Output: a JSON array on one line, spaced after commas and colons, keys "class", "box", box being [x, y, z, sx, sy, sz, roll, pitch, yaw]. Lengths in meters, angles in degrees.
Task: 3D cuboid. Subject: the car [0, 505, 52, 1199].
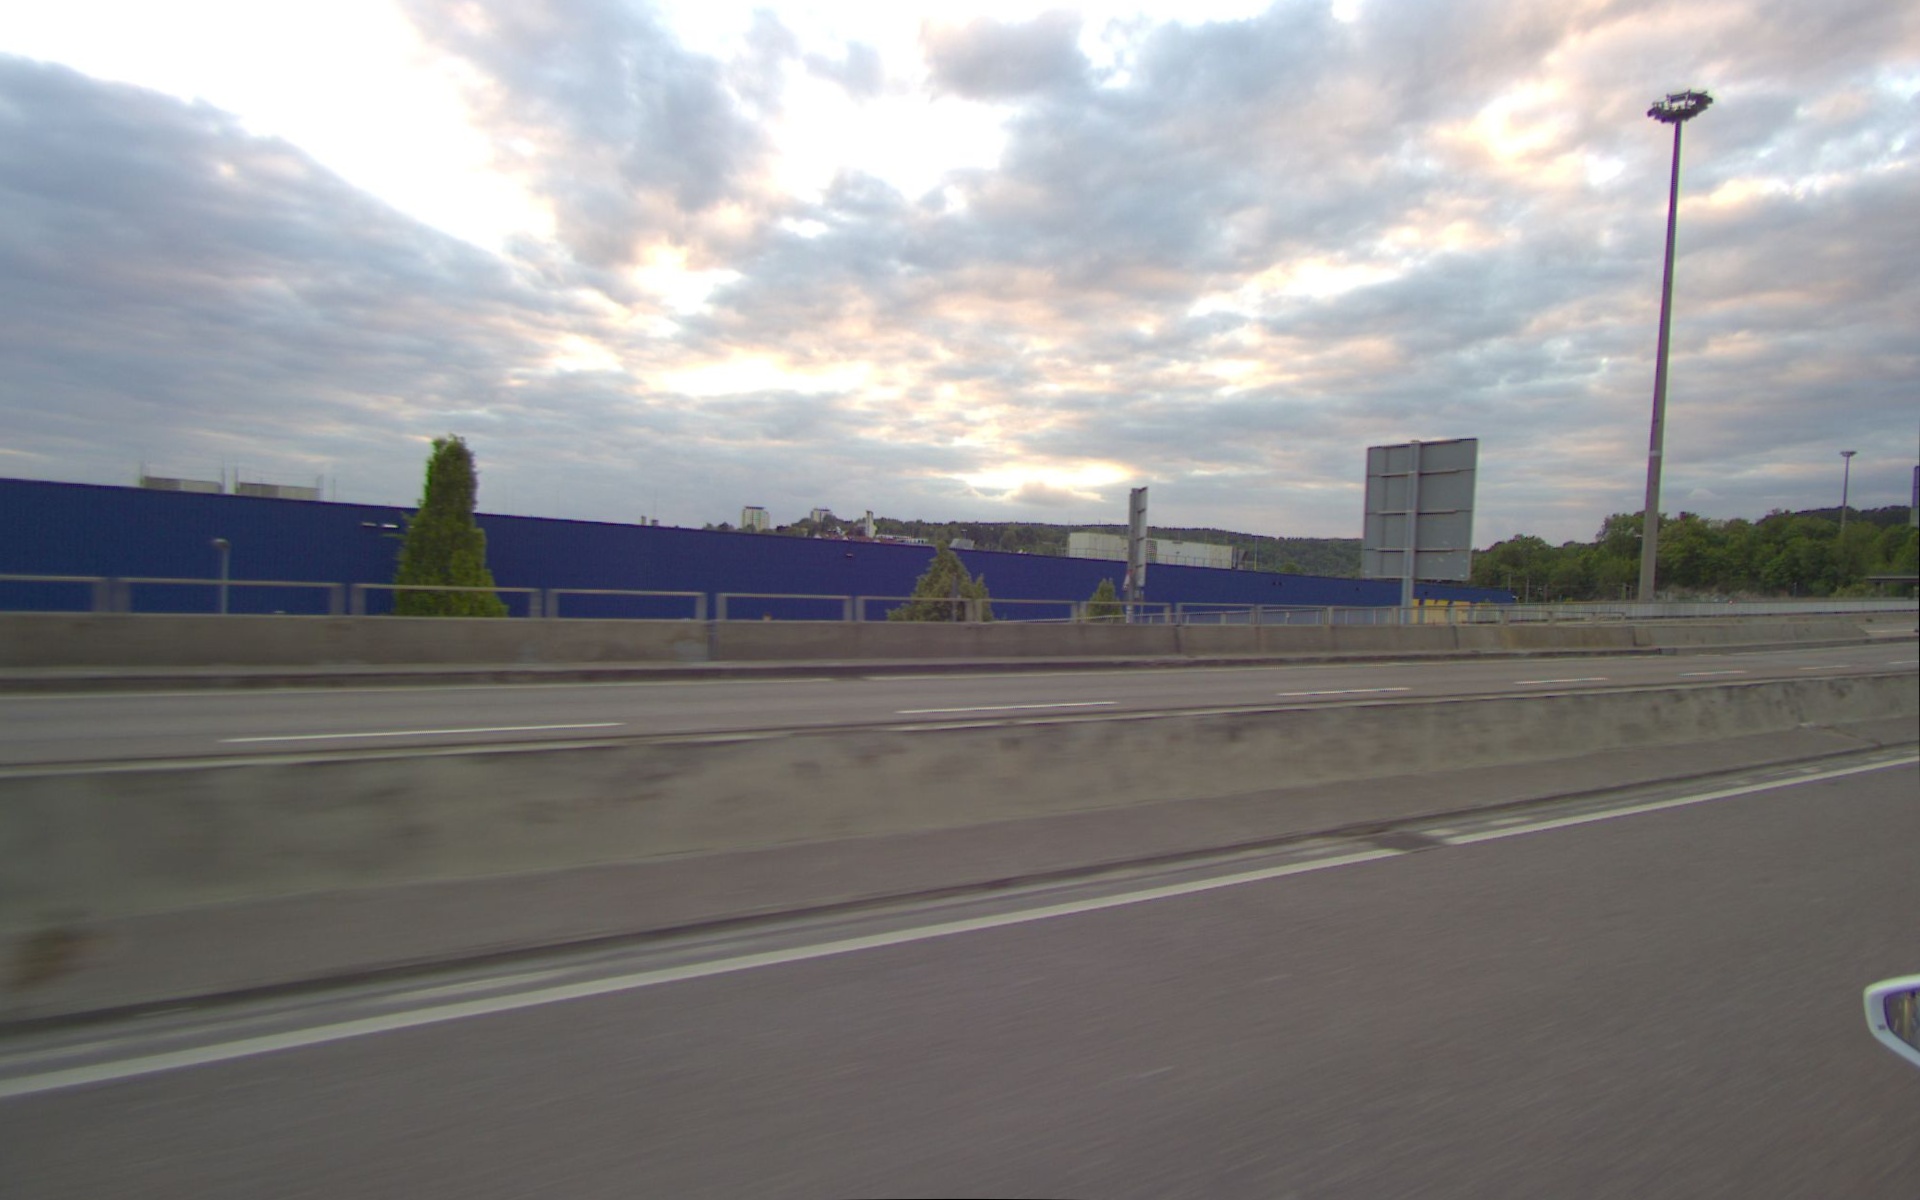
[{"class": "car", "box": [-3.762, 0.562, 0.427, 4.727, 1.557, 1.682, 1, 1, -30]}]
